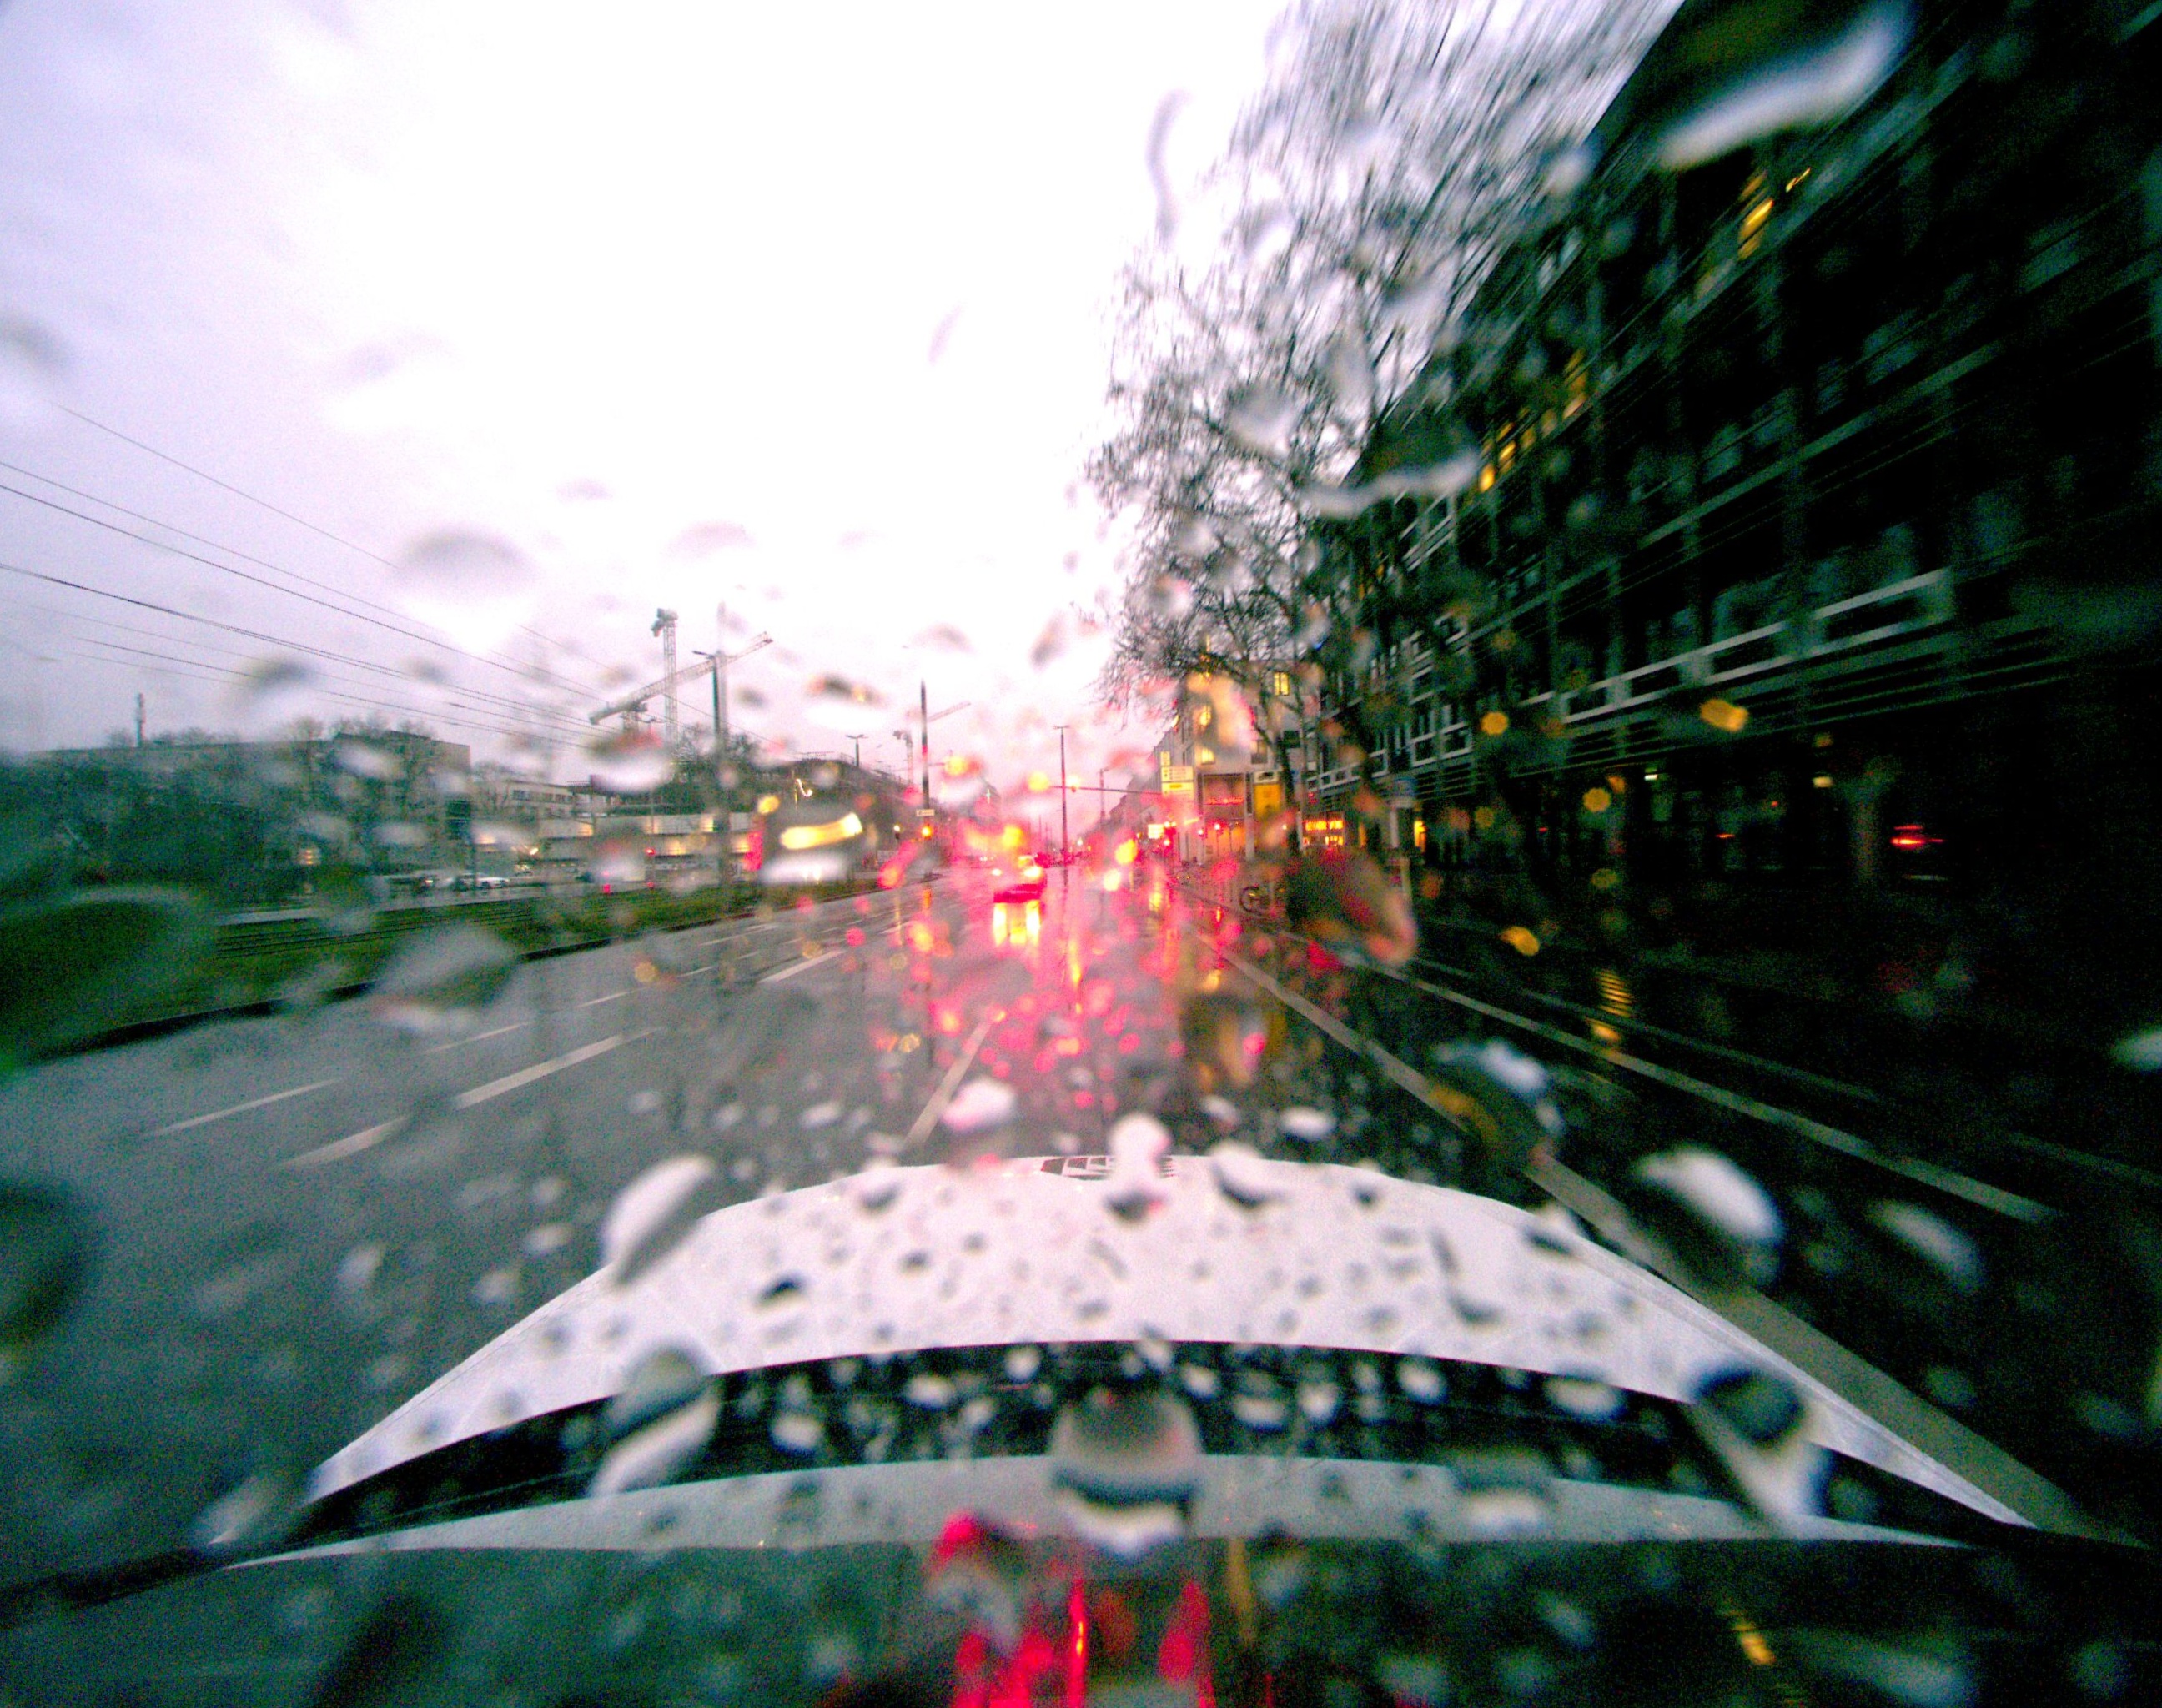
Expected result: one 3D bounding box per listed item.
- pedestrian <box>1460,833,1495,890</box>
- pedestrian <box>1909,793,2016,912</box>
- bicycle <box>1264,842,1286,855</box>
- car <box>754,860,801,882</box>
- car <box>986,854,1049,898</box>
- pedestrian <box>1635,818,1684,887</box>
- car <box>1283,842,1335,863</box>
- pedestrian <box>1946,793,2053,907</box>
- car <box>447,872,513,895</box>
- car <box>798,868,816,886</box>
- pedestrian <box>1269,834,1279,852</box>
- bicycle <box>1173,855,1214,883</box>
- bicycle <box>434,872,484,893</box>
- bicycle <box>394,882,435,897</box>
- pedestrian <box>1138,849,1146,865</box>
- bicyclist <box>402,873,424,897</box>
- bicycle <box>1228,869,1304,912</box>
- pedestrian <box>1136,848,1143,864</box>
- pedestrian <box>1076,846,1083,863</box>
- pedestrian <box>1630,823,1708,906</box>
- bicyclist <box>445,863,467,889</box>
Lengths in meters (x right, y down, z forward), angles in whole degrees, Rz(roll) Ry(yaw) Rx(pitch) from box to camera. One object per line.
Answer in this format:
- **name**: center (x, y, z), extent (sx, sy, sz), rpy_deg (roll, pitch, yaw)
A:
- **pedestrian**: center (11.011, 0.203, 22.629), extent (0.645, 1.544, 0.615), rpy_deg (-2, 0, 3)
- **pedestrian**: center (13.390, -0.024, 12.390), extent (0.657, 1.718, 0.842), rpy_deg (-2, 0, -3)
- **bicycle**: center (17.086, -0.516, 71.720), extent (1.831, 1.093, 0.620), rpy_deg (-2, 0, 17)
- **car**: center (-27.176, 1.484, 73.055), extent (1.980, 1.750, 4.015), rpy_deg (-2, 0, 13)
- **car**: center (-2.382, 0.801, 31.838), extent (1.903, 1.520, 4.925), rpy_deg (-2, 0, 1)
- **pedestrian**: center (14.412, -0.042, 20.295), extent (0.614, 1.656, 0.780), rpy_deg (-2, 0, -1)
- **car**: center (20.767, -0.172, 74.307), extent (4.282, 1.761, 1.709), rpy_deg (-2, 0, 5)
- **pedestrian**: center (14.030, -0.061, 12.466), extent (0.638, 1.655, 0.842), rpy_deg (-2, 0, -3)
- **car**: center (-50.485, 2.440, 68.463), extent (3.975, 1.684, 1.999), rpy_deg (-2, 0, -1)
- **car**: center (-32.644, 2.690, 97.023), extent (1.759, 2.013, 3.978), rpy_deg (-2, 0, -16)
- **pedestrian**: center (17.016, -0.952, 71.745), extent (0.774, 1.595, 0.616), rpy_deg (-2, 0, 17)
- **bicycle**: center (5.164, 0.671, 37.325), extent (1.746, 1.148, 0.435), rpy_deg (-4, 0, -3)
- **bicycle**: center (-44.710, 2.054, 58.526), extent (2.828, 1.362, 0.719), rpy_deg (-2, 0, -7)
- **bicycle**: center (-48.561, 2.579, 59.330), extent (2.368, 1.033, 0.617), rpy_deg (-2, 0, -5)
- **pedestrian**: center (6.304, 0.326, 84.612), extent (0.704, 1.619, 0.613), rpy_deg (-2, 0, 0)
- **bicyclist**: center (-48.644, 2.277, 59.329), extent (1.031, 1.697, 0.617), rpy_deg (-2, 0, -5)
- **bicycle**: center (4.793, 0.945, 21.123), extent (1.783, 0.974, 0.617), rpy_deg (-3, 0, -3)
- **pedestrian**: center (6.152, 0.226, 85.880), extent (0.703, 1.619, 0.681), rpy_deg (-2, 0, 3)
- **pedestrian**: center (-0.140, 0.031, 87.355), extent (0.700, 1.760, 0.668), rpy_deg (-2, 0, 2)
- **pedestrian**: center (11.311, 0.191, 15.698), extent (0.860, 1.524, 0.838), rpy_deg (-2, 0, 2)
- **bicyclist**: center (-44.913, 1.593, 58.518), extent (0.993, 1.839, 0.719), rpy_deg (-3, 0, -7)
